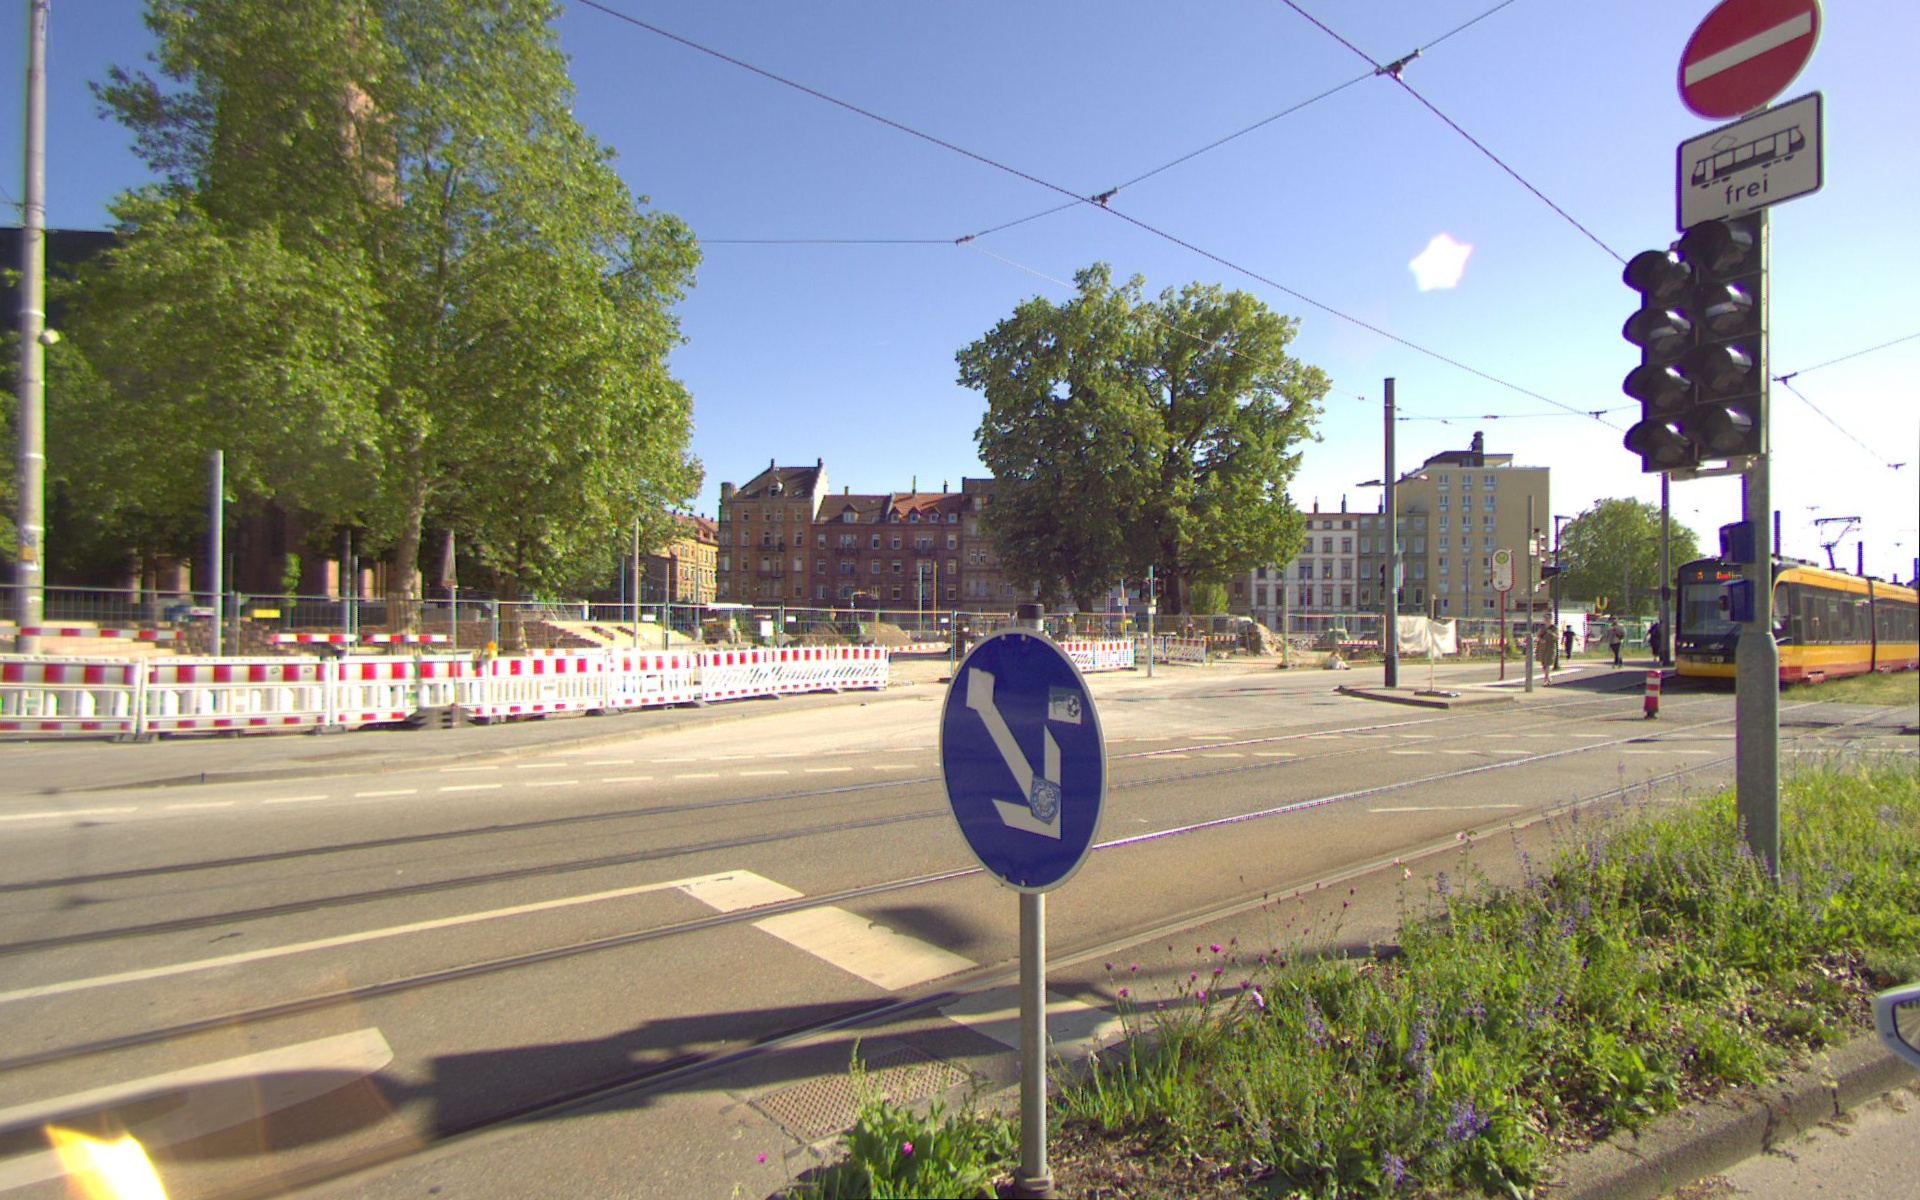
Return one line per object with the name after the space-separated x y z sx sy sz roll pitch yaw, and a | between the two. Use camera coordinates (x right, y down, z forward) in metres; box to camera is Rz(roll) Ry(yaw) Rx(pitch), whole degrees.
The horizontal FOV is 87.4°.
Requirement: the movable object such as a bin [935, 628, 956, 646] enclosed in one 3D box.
-1.399 3.607 98.924 1.715 1.702 3.803 0 -1 5 | movable object such as a bin

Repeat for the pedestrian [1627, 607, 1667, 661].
26.447 1.314 38.676 0.989 2.040 0.955 2 -1 -33 | pedestrian

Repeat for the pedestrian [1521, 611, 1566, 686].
15.077 1.228 25.954 0.895 1.875 0.755 -2 1 -42 | pedestrian

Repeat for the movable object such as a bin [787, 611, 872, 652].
-9.716 2.303 74.820 5.965 2.795 1.894 2 -1 1 | movable object such as a bin

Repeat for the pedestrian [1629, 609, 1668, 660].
27.956 1.405 40.795 0.989 2.040 0.955 2 -1 -33 | pedestrian

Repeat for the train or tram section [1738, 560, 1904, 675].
30.643 0.646 35.523 10.524 3.554 2.793 2 -1 -40 | train or tram section

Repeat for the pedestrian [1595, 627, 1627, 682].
21.791 1.805 33.617 0.851 1.791 0.970 -1 -2 35 | pedestrian

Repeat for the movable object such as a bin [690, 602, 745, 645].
-19.008 1.821 79.096 3.058 3.215 5.247 2 -1 -1 | movable object such as a bin

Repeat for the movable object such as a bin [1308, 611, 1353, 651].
28.026 2.326 76.084 1.797 2.833 3.999 2 -1 -2 | movable object such as a bin

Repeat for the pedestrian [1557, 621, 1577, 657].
30.595 1.958 50.657 0.794 1.791 0.661 1 -2 -41 | pedestrian

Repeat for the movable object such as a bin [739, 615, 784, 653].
-13.247 2.256 67.362 1.856 2.377 4.231 2 -1 4 | movable object such as a bin

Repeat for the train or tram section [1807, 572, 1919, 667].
38.862 0.855 42.460 11.118 3.554 2.793 2 -1 -40 | train or tram section

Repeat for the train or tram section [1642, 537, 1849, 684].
22.728 0.402 28.749 10.398 3.554 2.793 2 -2 -41 | train or tram section
